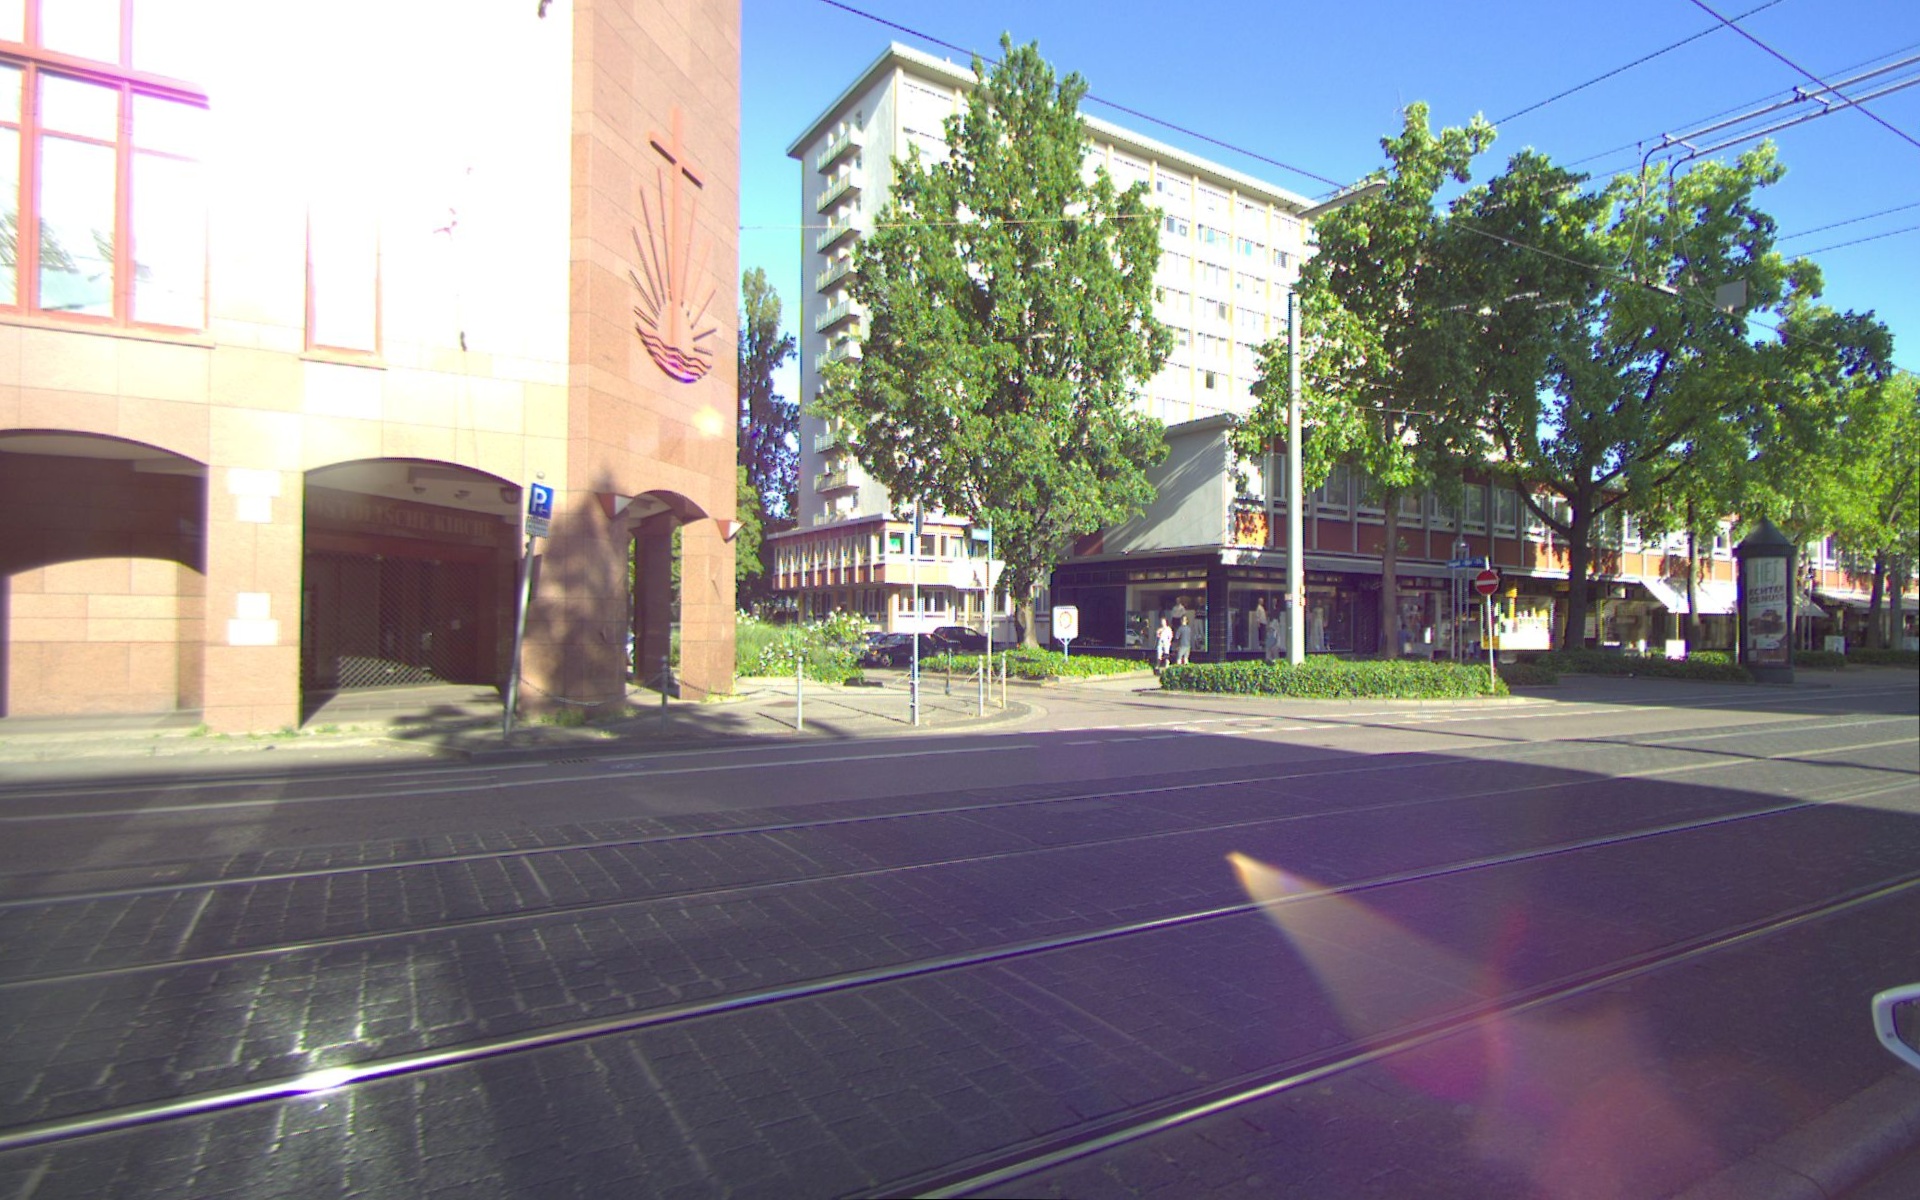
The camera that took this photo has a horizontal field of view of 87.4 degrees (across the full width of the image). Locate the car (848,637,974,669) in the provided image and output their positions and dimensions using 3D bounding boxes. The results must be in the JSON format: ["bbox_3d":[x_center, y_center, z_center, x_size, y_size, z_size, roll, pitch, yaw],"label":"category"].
[{"bbox_3d":[-2.113,2.270,43.894,5.140,1.231,1.985,1,0,-28],"label":"car"}]

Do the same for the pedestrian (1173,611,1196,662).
[{"bbox_3d":[8.222,1.328,36.755,0.532,1.808,0.588,1,1,-30],"label":"pedestrian"}]

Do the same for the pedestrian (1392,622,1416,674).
[{"bbox_3d":[15.885,1.717,35.947,0.583,1.826,0.541,1,1,-39],"label":"pedestrian"}]

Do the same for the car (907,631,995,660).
[{"bbox_3d":[-0.509,2.725,61.131,5.155,1.575,1.979,1,0,-36],"label":"car"}]

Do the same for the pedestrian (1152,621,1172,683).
[{"bbox_3d":[6.941,1.780,34.559,0.591,2.093,0.669,1,1,15],"label":"pedestrian"}]

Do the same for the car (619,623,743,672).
[{"bbox_3d":[-10.125,1.741,36.497,3.959,1.600,1.735,4,-4,-34],"label":"car"}]

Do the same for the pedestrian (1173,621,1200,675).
[{"bbox_3d":[7.326,1.546,32.548,0.697,1.716,0.523,0,-2,-7],"label":"pedestrian"}]

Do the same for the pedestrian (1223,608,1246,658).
[{"bbox_3d":[9.915,1.189,36.256,0.586,1.794,0.534,1,1,-30],"label":"pedestrian"}]

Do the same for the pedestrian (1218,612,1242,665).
[{"bbox_3d":[9.483,1.341,35.262,0.586,1.808,0.534,1,1,-30],"label":"pedestrian"}]

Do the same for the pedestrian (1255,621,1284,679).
[{"bbox_3d":[10.207,1.625,33.114,0.666,1.871,0.623,1,1,-33],"label":"pedestrian"}]

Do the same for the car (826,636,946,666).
[{"bbox_3d":[-3.356,2.310,46.054,5.138,1.231,1.986,1,0,-27],"label":"car"}]

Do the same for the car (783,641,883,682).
[{"bbox_3d":[-4.291,1.987,33.398,1.976,1.016,3.968,-1,1,-29],"label":"car"}]

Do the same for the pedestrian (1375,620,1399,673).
[{"bbox_3d":[15.461,1.675,36.392,0.533,1.897,0.586,1,1,-39],"label":"pedestrian"}]
